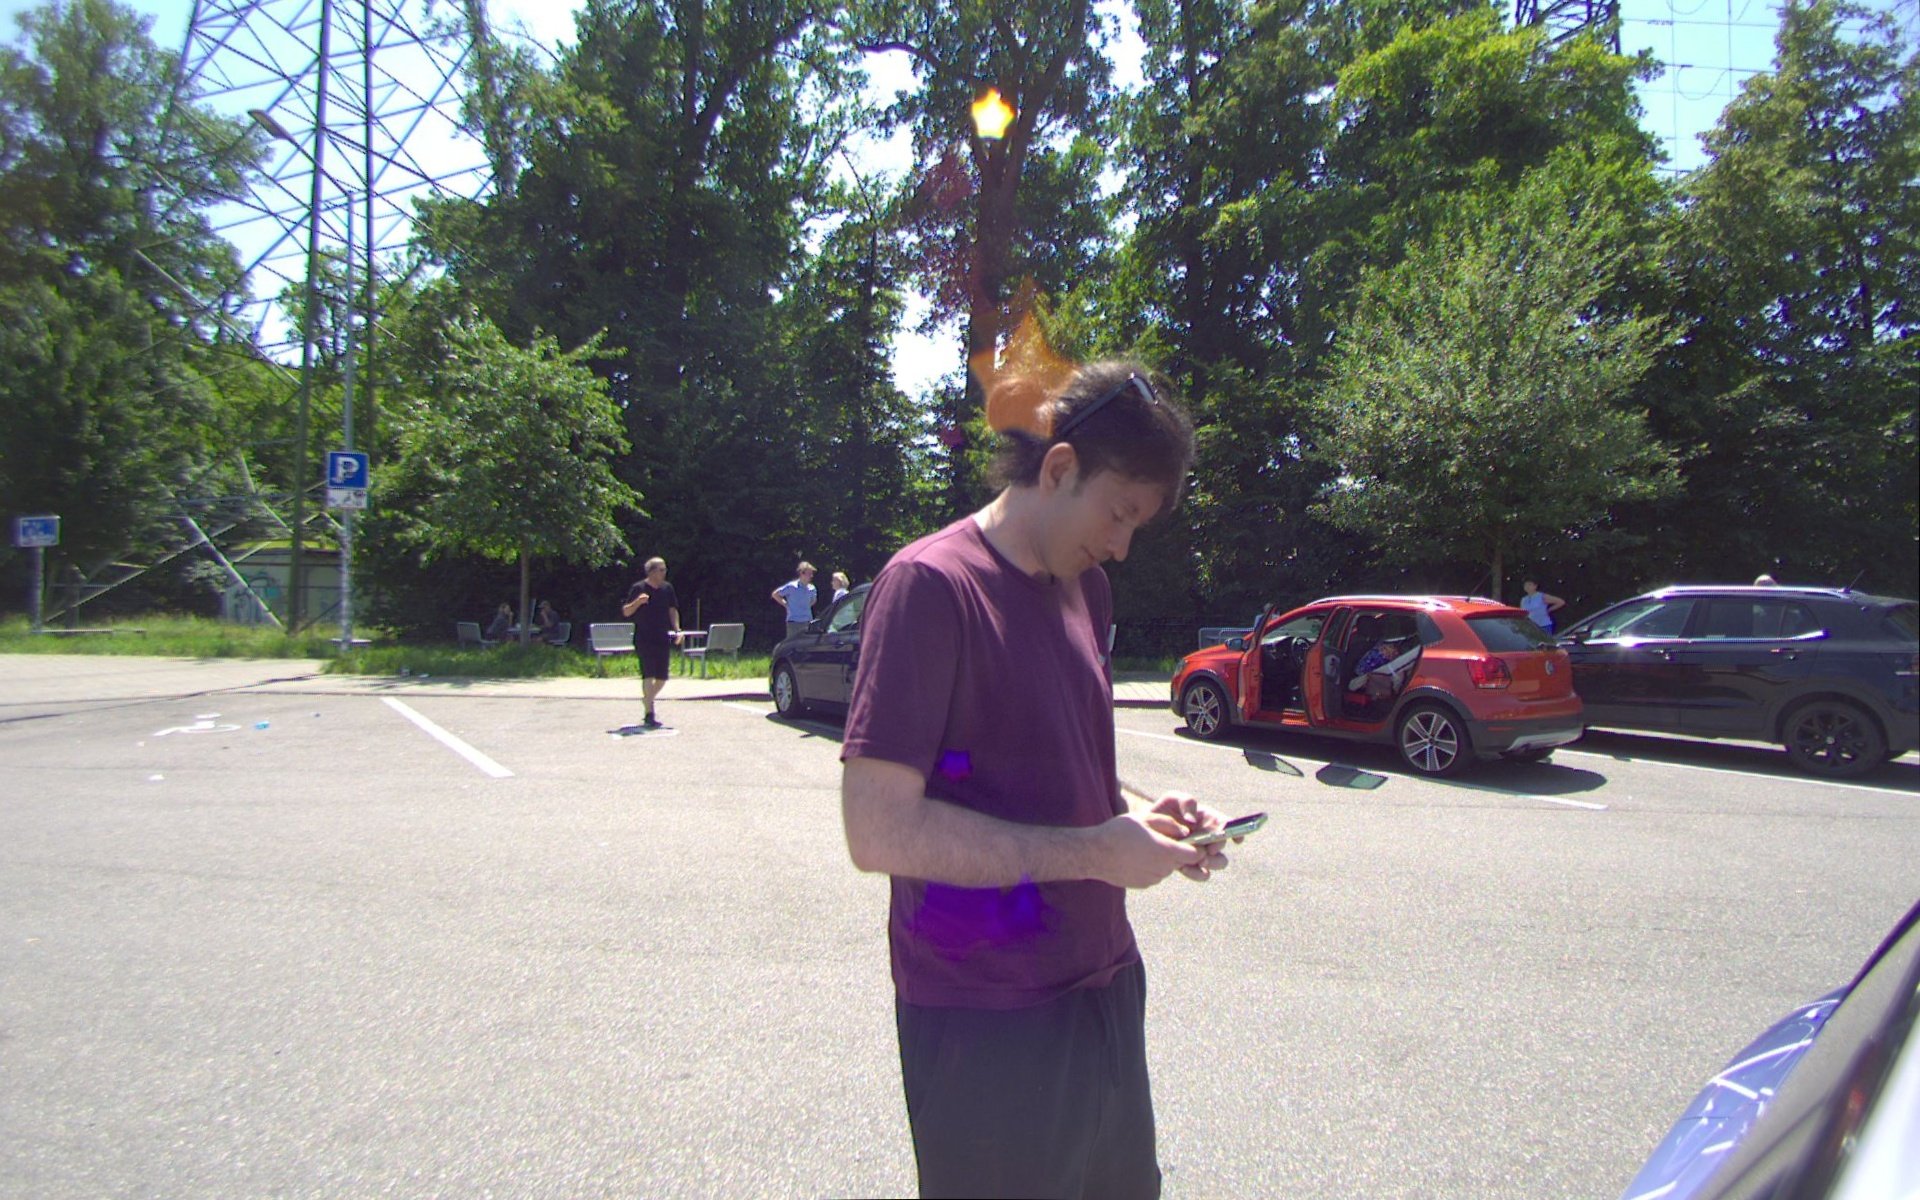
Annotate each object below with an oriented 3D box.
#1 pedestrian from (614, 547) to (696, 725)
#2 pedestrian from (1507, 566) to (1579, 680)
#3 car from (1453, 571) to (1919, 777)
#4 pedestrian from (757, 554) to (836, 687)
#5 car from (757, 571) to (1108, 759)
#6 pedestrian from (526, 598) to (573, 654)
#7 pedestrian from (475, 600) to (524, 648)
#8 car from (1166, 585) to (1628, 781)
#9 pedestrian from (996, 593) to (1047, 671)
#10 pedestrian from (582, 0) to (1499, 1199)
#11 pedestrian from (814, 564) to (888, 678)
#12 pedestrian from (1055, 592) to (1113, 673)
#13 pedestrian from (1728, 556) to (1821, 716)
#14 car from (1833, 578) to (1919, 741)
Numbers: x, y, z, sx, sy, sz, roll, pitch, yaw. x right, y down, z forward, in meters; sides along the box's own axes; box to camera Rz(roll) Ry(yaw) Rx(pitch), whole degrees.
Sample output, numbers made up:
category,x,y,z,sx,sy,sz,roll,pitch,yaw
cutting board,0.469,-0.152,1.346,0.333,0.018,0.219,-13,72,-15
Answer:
category,x,y,z,sx,sy,sz,roll,pitch,yaw
pedestrian,-3.363,0.378,11.124,0.700,1.851,0.906,1,-1,-26
pedestrian,8.594,0.330,14.915,0.795,1.614,0.714,1,-1,-42
car,7.206,0.577,9.840,1.807,1.612,3.967,1,0,-38
pedestrian,-2.288,0.272,14.157,0.786,1.784,0.809,1,-1,-39
car,-0.486,0.545,10.700,1.809,1.588,4.017,1,0,-35
pedestrian,-9.581,0.597,23.618,0.796,1.253,0.713,1,-1,-44
pedestrian,-10.395,0.530,22.846,0.796,1.062,0.714,1,-1,-43
car,3.925,0.622,9.653,1.746,1.475,3.710,1,0,-33
pedestrian,1.040,0.538,17.187,0.656,1.285,0.655,1,-1,-17
pedestrian,0.125,0.448,1.361,0.828,1.797,0.926,0,-1,45
pedestrian,-1.608,0.294,14.910,0.794,1.614,0.776,1,-1,-34
pedestrian,2.054,0.532,16.878,0.656,1.311,0.832,1,-1,-17
pedestrian,9.952,0.428,12.398,0.672,1.889,0.710,0,-1,19
car,10.928,0.601,9.388,1.745,1.612,3.972,1,0,-32
